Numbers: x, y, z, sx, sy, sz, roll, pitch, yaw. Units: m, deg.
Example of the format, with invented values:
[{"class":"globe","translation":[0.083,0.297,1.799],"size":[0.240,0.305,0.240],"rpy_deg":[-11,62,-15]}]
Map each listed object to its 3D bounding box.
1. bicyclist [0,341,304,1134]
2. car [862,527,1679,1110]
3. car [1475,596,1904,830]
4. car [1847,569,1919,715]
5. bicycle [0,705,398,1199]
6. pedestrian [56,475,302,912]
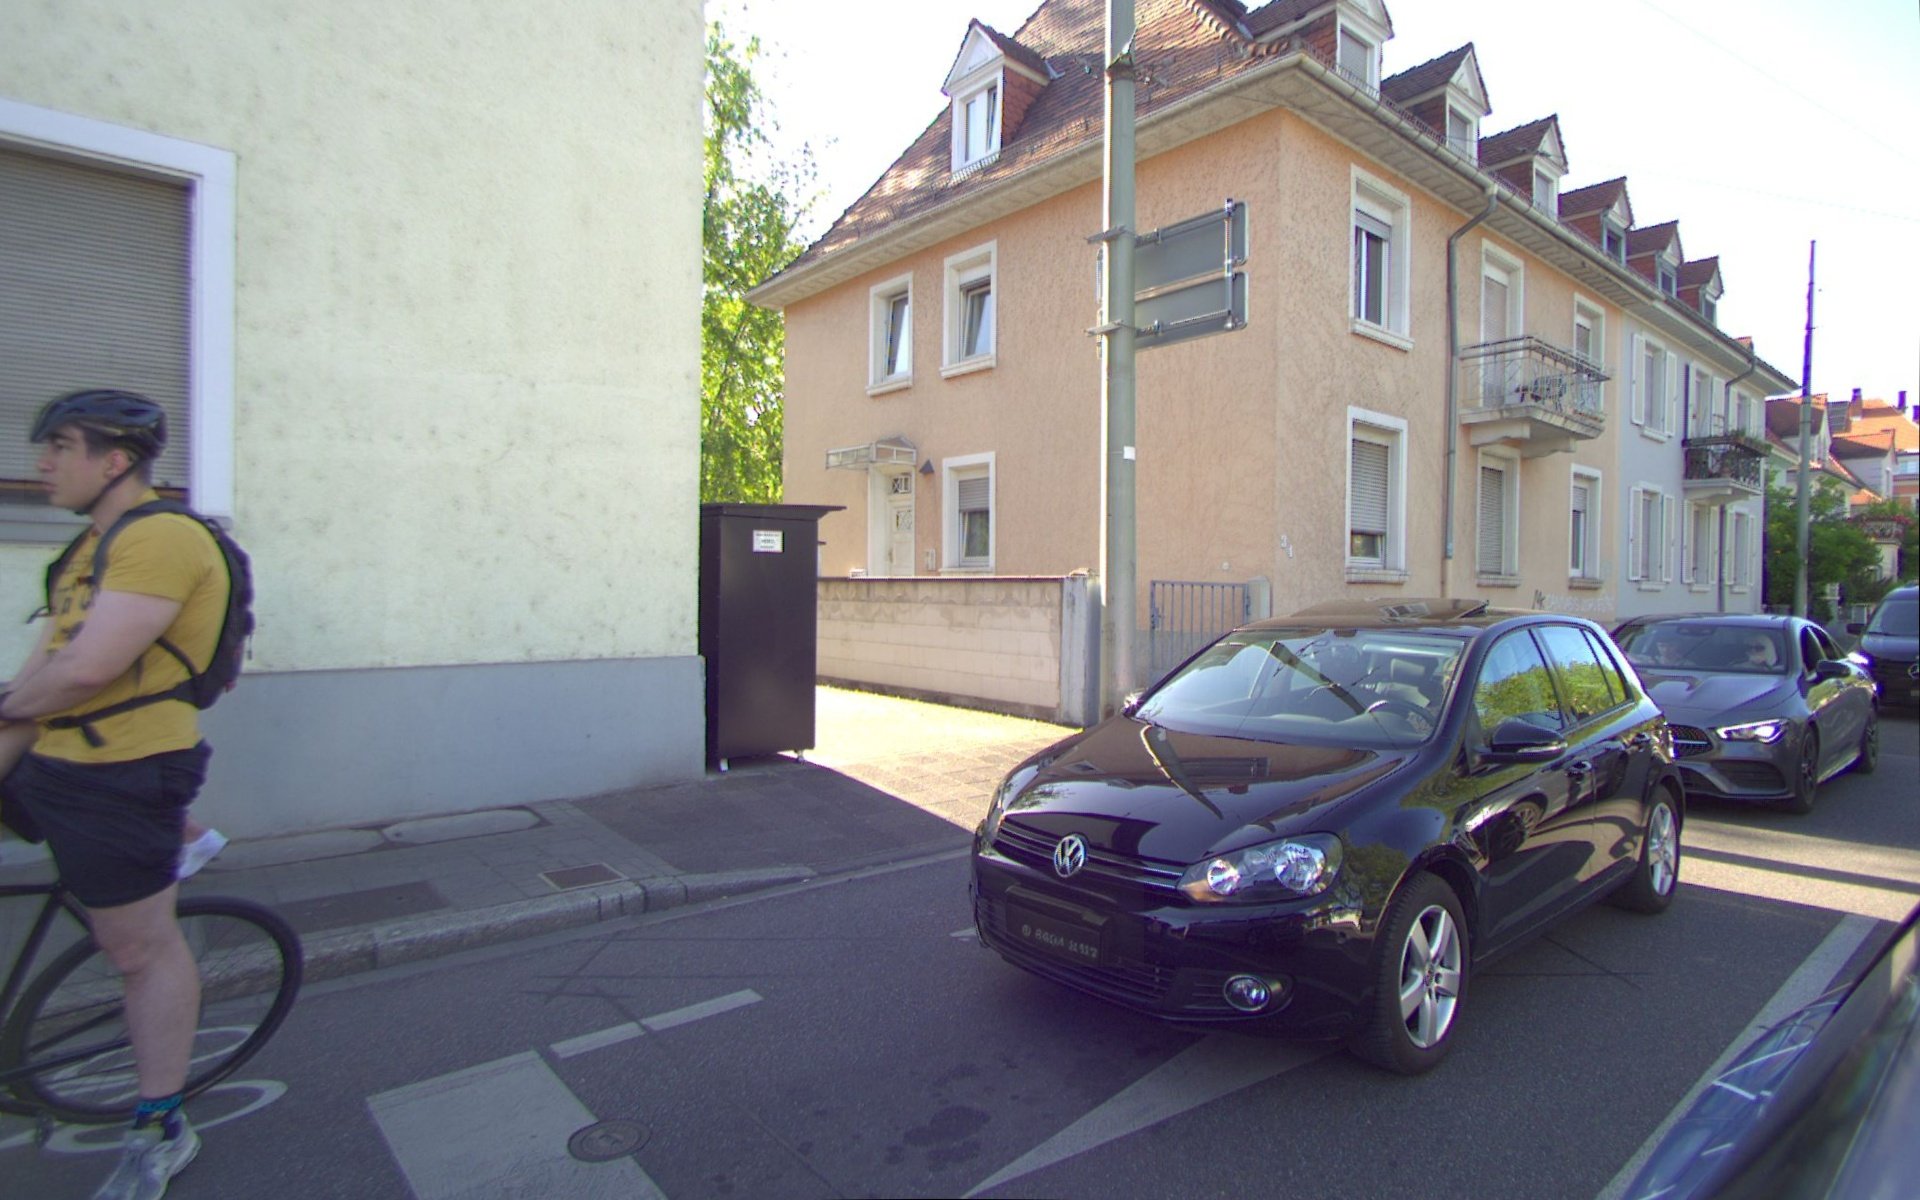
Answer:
[{"class":"bicyclist","translation":[-2.212,0.288,2.532],"size":[0.868,1.684,0.807],"rpy_deg":[0,0,-40]},{"class":"car","translation":[1.687,0.617,4.631],"size":[3.979,1.527,1.731],"rpy_deg":[2,-1,-41]},{"class":"car","translation":[6.305,0.705,8.547],"size":[4.413,1.437,1.911],"rpy_deg":[-1,0,-40]},{"class":"car","translation":[13.986,0.504,14.070],"size":[4.695,1.827,1.864],"rpy_deg":[-1,0,-41]},{"class":"bicycle","translation":[-2.381,0.869,2.384],"size":[1.749,1.044,0.756],"rpy_deg":[-1,0,-40]},{"class":"pedestrian","translation":[-3.447,0.367,4.506],"size":[0.577,1.776,0.641],"rpy_deg":[4,4,11]}]
